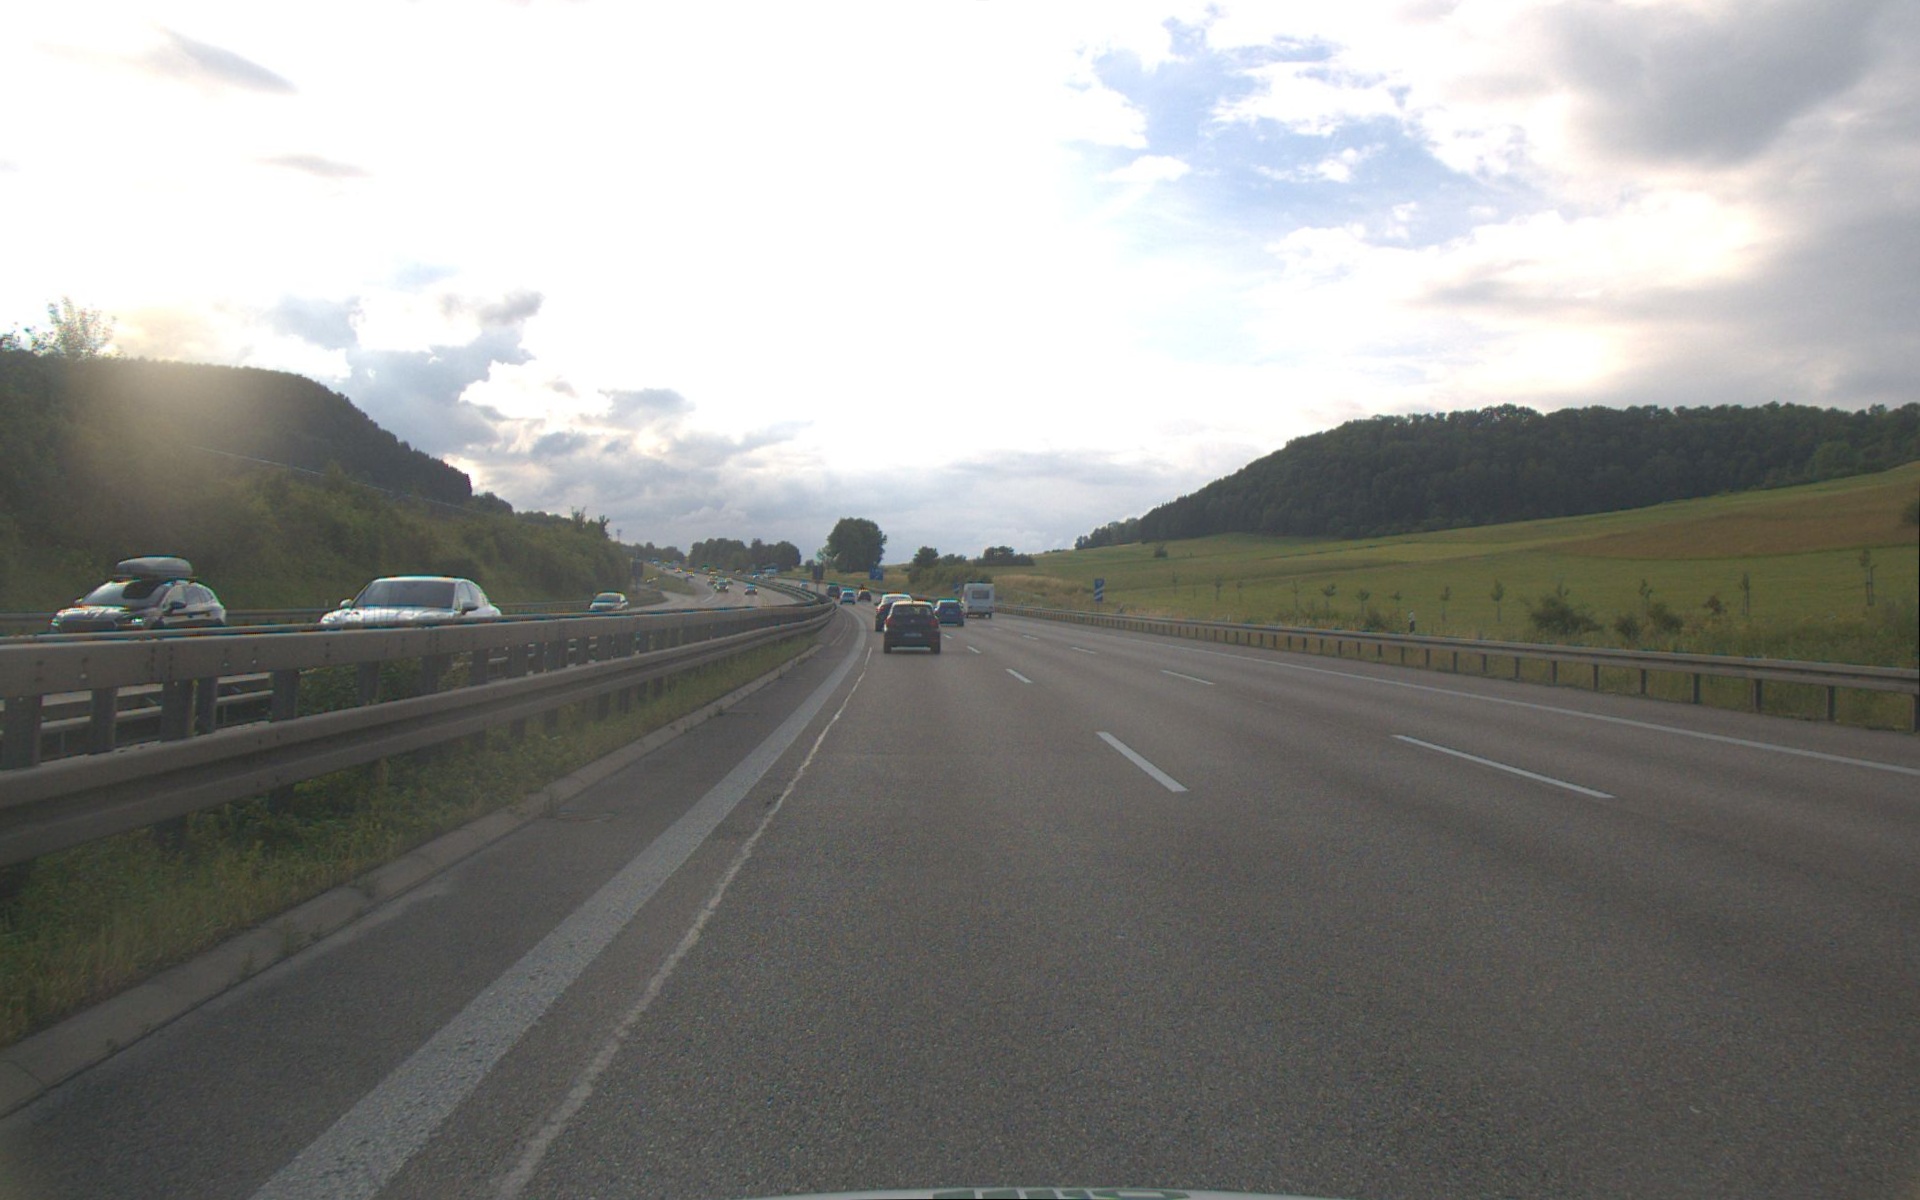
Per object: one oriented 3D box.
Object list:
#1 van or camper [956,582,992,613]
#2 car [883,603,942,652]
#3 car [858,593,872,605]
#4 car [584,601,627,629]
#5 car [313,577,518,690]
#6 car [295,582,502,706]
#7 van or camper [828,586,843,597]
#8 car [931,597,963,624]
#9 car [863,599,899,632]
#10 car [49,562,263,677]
[{"bbox_3d":[1.084,-0.161,124.864,2.495,2.278,5.330,1,0,2],"label":"van or camper"},{"bbox_3d":[-1.415,0.774,48.420,1.508,1.371,3.673,1,0,-5],"label":"car"},{"bbox_3d":[-12.768,-0.158,222.376,1.918,1.601,3.998,1,0,-3],"label":"car"},{"bbox_3d":[-19.214,0.803,89.804,1.672,1.440,3.997,1,0,-4],"label":"car"},{"bbox_3d":[-8.648,0.500,26.763,1.796,1.619,5.017,1,0,-2],"label":"car"},{"bbox_3d":[-8.352,0.605,24.992,1.609,1.685,4.345,1,0,0],"label":"car"},{"bbox_3d":[-17.810,-1.251,237.073,1.926,1.458,3.999,1,0,-1],"label":"van or camper"},{"bbox_3d":[-0.774,0.595,93.868,1.731,1.458,3.999,1,0,-2],"label":"car"},{"bbox_3d":[-3.529,0.663,74.234,1.533,1.404,3.998,1,0,-2],"label":"car"},{"bbox_3d":[-15.826,0.369,32.888,1.923,2.076,5.017,1,0,-2],"label":"car"}]
